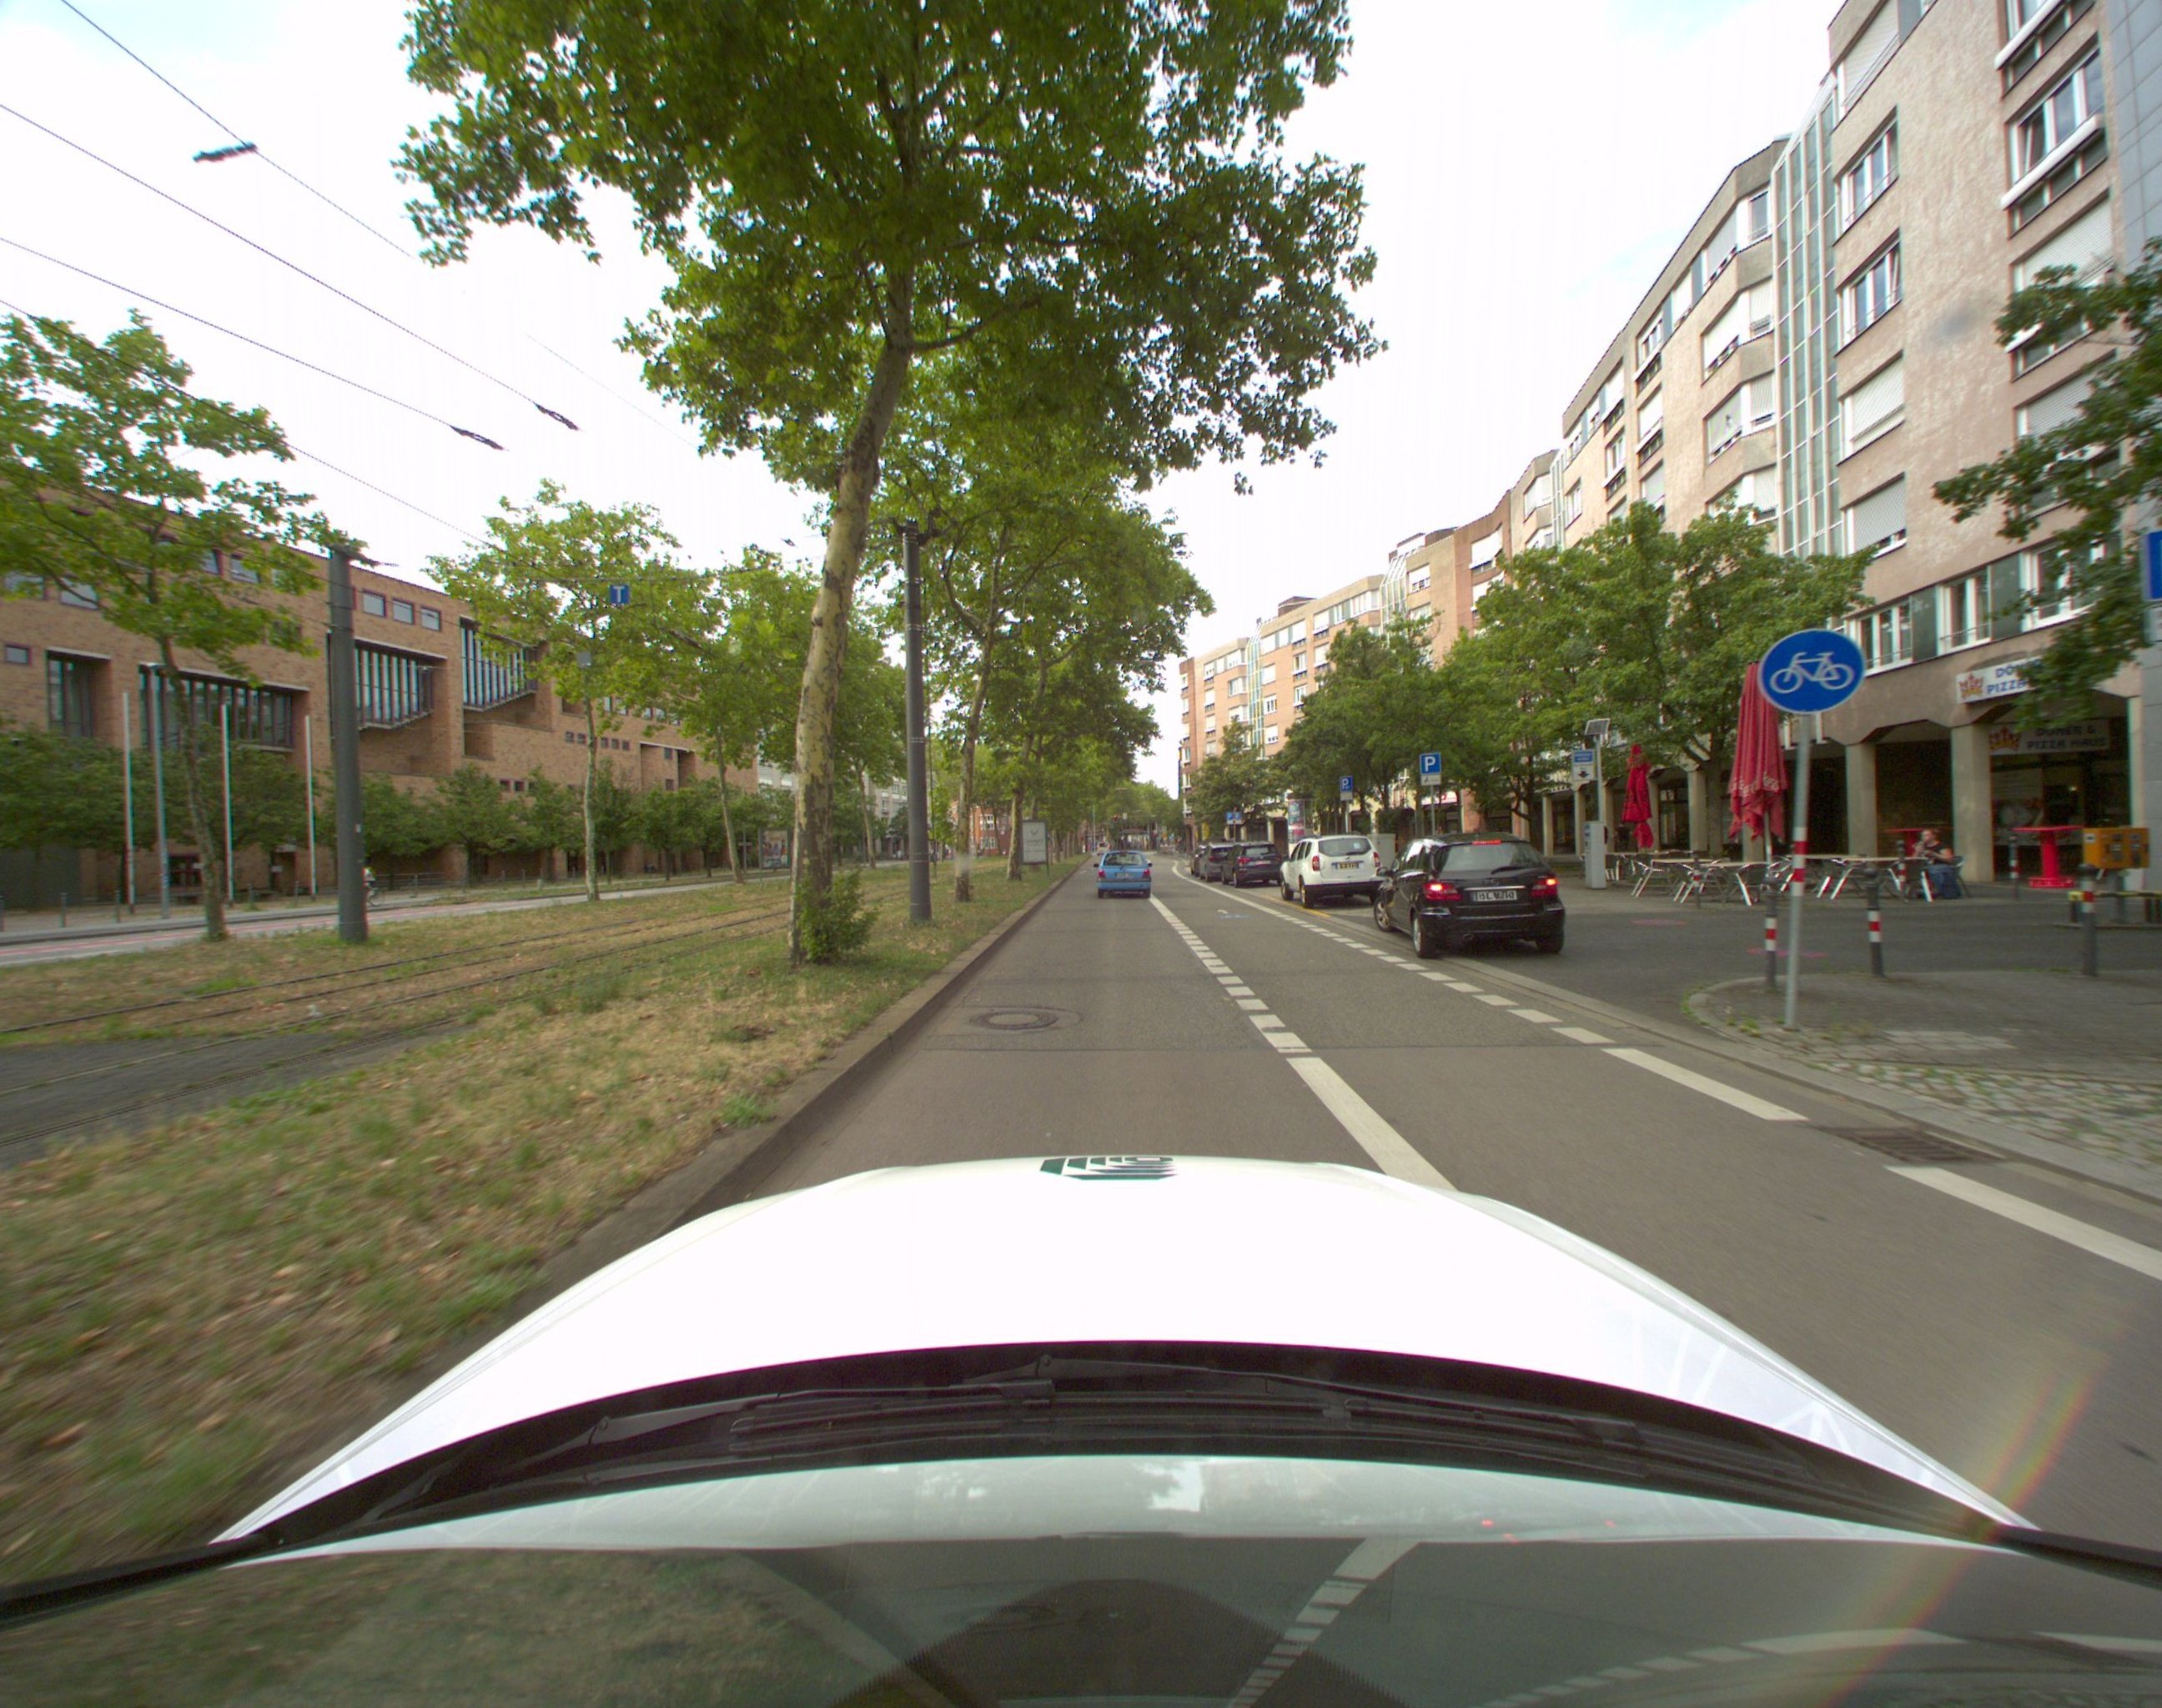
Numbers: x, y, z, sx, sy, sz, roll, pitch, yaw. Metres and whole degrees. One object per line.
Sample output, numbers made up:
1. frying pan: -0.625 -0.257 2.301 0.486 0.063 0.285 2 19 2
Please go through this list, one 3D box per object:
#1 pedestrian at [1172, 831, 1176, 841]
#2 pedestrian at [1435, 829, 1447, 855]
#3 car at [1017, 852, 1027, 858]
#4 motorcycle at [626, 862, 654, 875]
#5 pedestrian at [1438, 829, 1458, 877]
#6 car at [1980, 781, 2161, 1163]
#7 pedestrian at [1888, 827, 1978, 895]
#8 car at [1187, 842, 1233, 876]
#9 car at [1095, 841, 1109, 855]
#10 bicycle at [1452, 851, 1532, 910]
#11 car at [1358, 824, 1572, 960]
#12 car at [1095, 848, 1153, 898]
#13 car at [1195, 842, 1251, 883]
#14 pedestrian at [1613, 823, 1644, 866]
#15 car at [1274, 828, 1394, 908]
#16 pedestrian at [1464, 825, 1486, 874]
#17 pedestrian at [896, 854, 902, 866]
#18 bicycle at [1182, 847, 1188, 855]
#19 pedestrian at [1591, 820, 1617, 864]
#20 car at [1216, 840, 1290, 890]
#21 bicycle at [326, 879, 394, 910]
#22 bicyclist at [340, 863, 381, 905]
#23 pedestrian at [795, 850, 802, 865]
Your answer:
1. pedestrian: 14.835 -2.883 130.198 0.514 1.616 0.852 -2 0 7
2. pedestrian: 23.458 -0.794 53.004 0.529 1.662 0.854 -2 0 14
3. car: -12.279 0.263 169.687 1.723 1.245 4.536 -2 0 1
4. motorcycle: -40.884 1.334 75.527 2.198 1.191 0.791 -2 0 -22
5. pedestrian: 11.502 -0.037 25.529 0.409 1.479 0.504 -2 0 8
6. car: 5.636 0.451 1.831 1.990 1.602 4.578 -5 1 -3
7. pedestrian: 14.966 0.118 14.327 0.815 1.157 0.702 -2 0 13
8. car: 6.225 0.210 39.729 1.808 1.442 4.671 -3 0 4
9. car: 3.096 -0.839 118.340 1.924 1.925 4.958 -2 1 2
10. bicycle: 7.787 0.468 15.516 0.603 1.029 1.867 -2 1 2
11. car: 5.436 0.443 12.155 1.764 1.576 4.318 -4 0 11
12. car: 1.320 0.515 25.154 1.634 1.386 3.845 -1 0 2
13. car: 5.856 0.320 34.001 1.732 1.519 4.405 -3 1 3
14. pedestrian: 20.714 -0.367 30.801 0.705 1.555 0.802 -2 0 15
15. car: 5.981 0.283 19.753 1.852 1.653 4.169 -3 0 5
16. pedestrian: 12.815 -0.144 26.462 0.510 1.569 0.483 -2 0 37
17. pedestrian: -25.715 0.892 115.184 0.549 1.705 0.886 -2 0 6
18. bicycle: 14.423 -0.465 112.911 0.609 1.118 1.809 -2 0 9
19. pedestrian: 19.848 -0.455 30.904 0.601 1.662 0.684 -2 0 11
20. car: 6.003 0.331 28.853 1.709 1.519 4.205 -4 1 1
21. bicycle: -28.744 1.587 32.522 0.665 1.084 2.096 -2 1 5
22. bicyclist: -28.749 1.186 32.507 0.661 1.590 0.985 -2 0 5
23. pedestrian: -33.092 0.443 95.492 0.549 1.705 0.627 -2 0 6
